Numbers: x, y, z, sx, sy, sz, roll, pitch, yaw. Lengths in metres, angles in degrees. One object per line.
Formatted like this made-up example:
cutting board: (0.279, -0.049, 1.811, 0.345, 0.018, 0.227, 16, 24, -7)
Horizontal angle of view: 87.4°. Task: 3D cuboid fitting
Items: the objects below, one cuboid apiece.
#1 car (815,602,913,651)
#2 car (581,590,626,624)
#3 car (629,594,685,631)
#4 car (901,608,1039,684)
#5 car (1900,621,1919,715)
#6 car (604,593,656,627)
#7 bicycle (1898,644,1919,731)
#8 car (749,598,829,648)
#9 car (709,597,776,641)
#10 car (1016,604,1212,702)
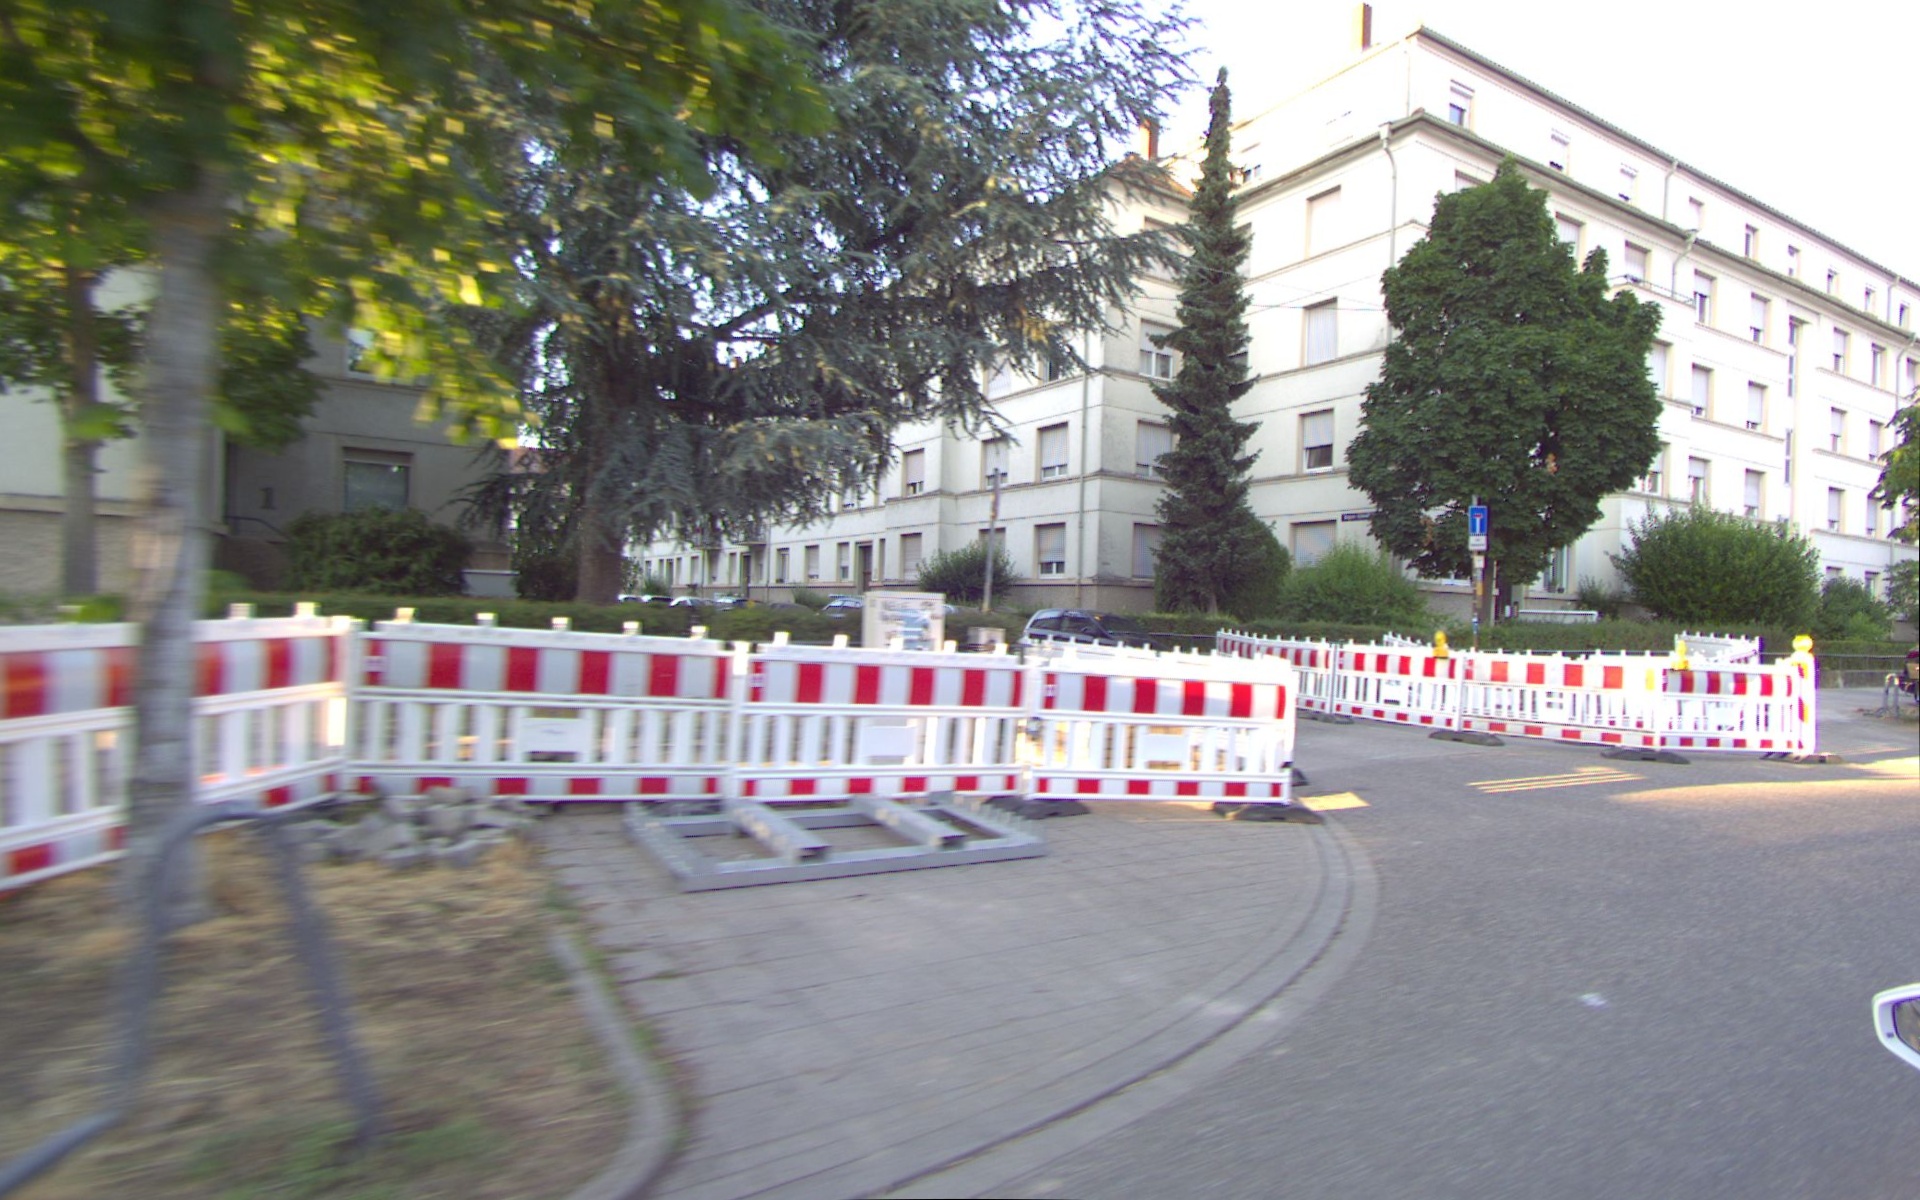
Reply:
car: (-2.714, 0.706, 27.937, 1.422, 1.196, 3.089, 1, 0, -33)
car: (-19.142, 0.370, 53.888, 1.556, 1.703, 3.367, 1, 1, -33)
car: (-13.771, 0.560, 45.582, 1.539, 1.554, 3.366, 1, 1, -33)
car: (0.168, 1.017, 23.527, 1.578, 1.526, 3.477, 1, 0, -33)
car: (18.706, 1.265, 16.801, 1.977, 1.647, 3.966, 1, 0, -31)
car: (-16.231, 0.471, 49.312, 1.603, 1.549, 3.433, 1, 1, -33)
bicycle: (14.592, 1.284, 14.962, 1.965, 1.244, 0.403, 1, 1, -33)
car: (-5.616, 0.718, 32.745, 1.462, 1.478, 3.148, 1, 1, -33)
car: (-7.930, 0.664, 36.466, 1.336, 1.483, 3.154, 1, 1, -33)
car: (2.884, 0.941, 19.458, 1.743, 1.611, 3.684, 1, 1, -33)
